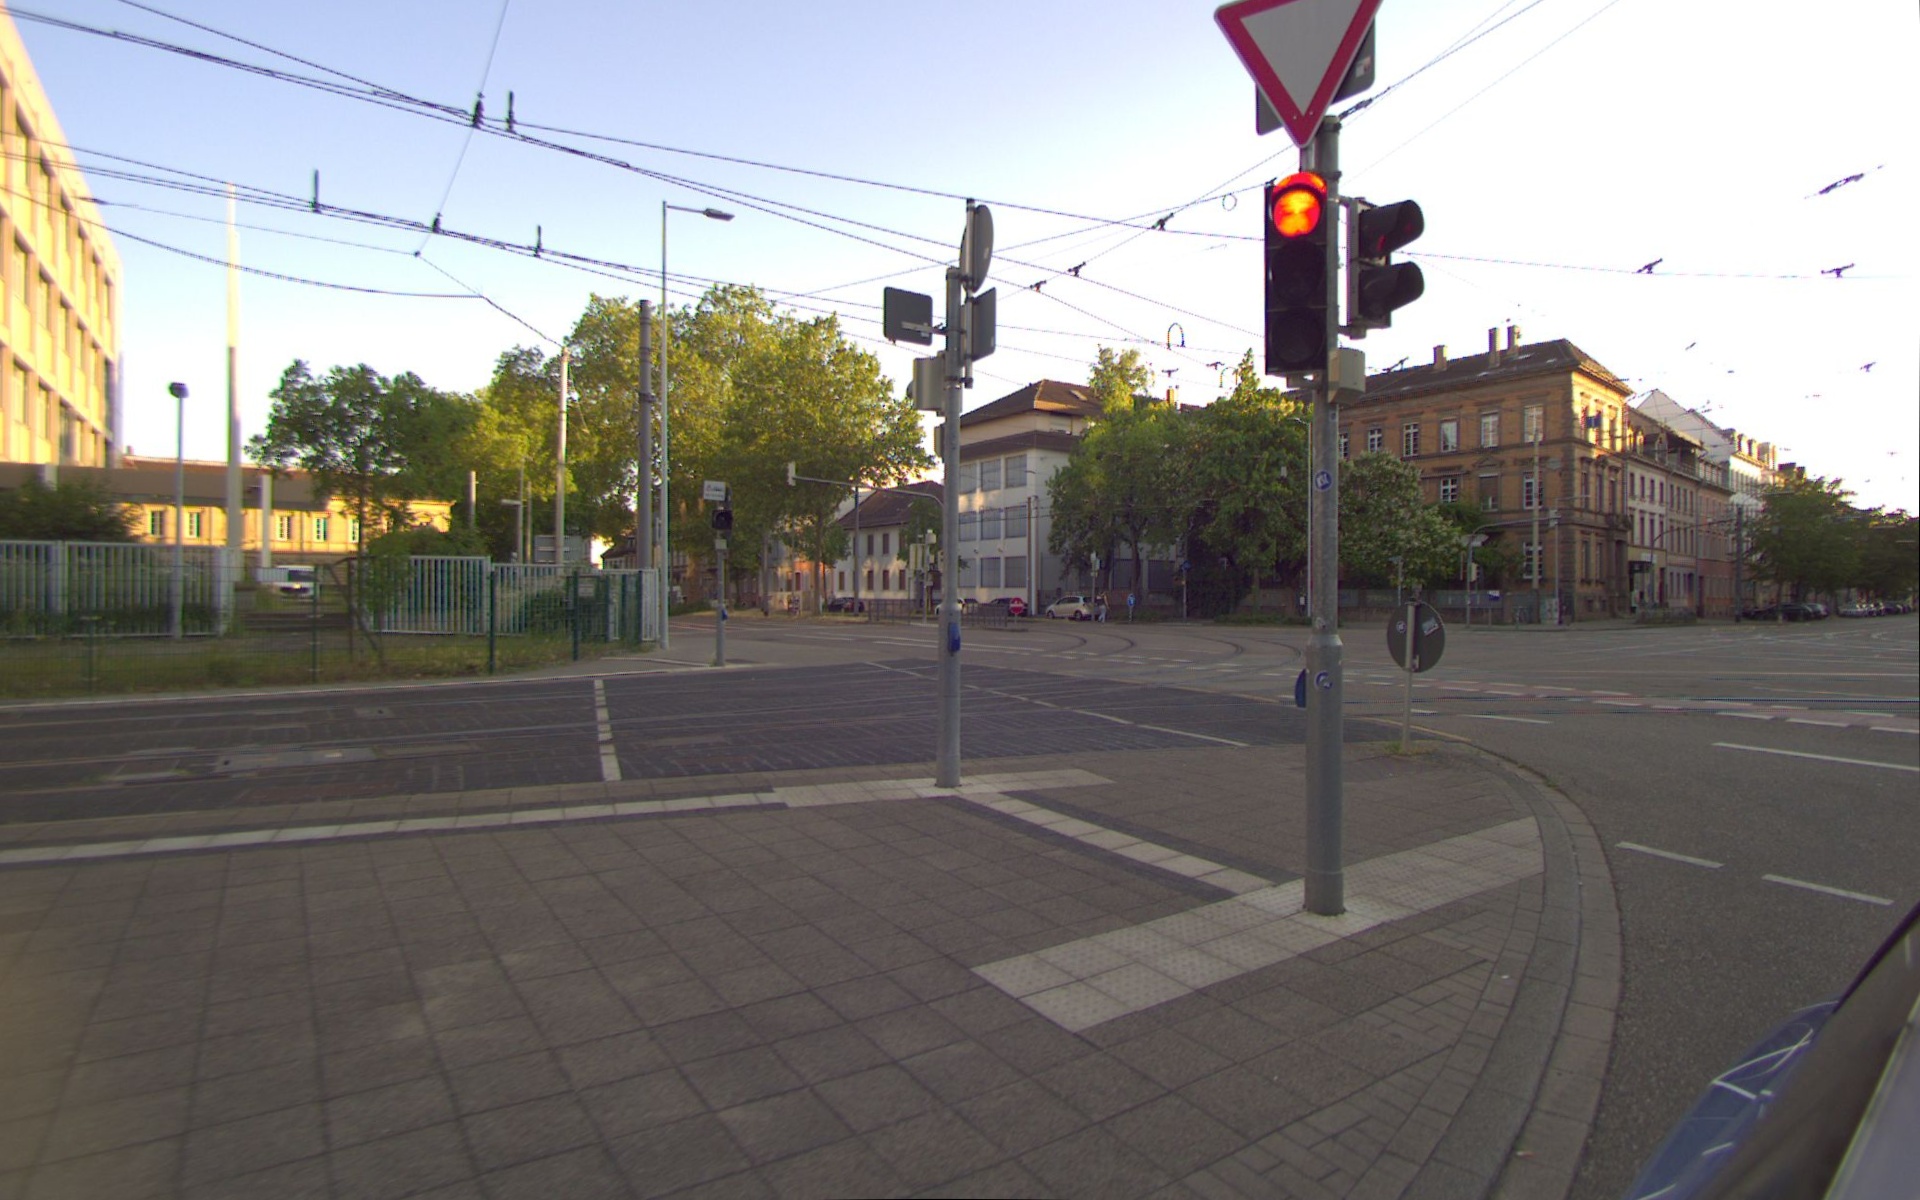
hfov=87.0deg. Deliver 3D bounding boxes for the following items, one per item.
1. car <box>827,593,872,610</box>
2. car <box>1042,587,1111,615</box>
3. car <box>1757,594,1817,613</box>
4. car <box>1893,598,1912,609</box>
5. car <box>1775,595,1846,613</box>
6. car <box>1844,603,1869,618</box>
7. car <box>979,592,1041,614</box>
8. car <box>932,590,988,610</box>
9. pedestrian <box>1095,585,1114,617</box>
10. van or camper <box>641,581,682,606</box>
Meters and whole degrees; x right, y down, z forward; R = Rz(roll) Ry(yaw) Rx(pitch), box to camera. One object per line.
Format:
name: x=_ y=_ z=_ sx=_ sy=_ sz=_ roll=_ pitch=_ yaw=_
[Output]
car: x=-9.581 y=0.150 z=87.441 sx=1.963 sy=1.442 sz=4.230 roll=0 pitch=0 yaw=-37
car: x=7.261 y=0.052 z=63.607 sx=1.963 sy=1.653 sz=4.230 roll=0 pitch=0 yaw=-37
car: x=68.237 y=0.281 z=83.517 sx=3.762 sy=1.505 sz=1.877 roll=0 pitch=0 yaw=44
car: x=124.977 y=0.470 z=134.122 sx=1.781 sy=1.453 sz=4.229 roll=0 pitch=0 yaw=44
car: x=74.095 y=0.355 z=88.213 sx=4.690 sy=1.505 sz=1.877 roll=0 pitch=0 yaw=44
car: x=92.010 y=1.015 z=103.837 sx=1.781 sy=1.475 sz=4.229 roll=0 pitch=0 yaw=44
car: x=3.369 y=0.173 z=69.438 sx=1.963 sy=1.442 sz=4.358 roll=0 pitch=0 yaw=-37
car: x=-0.047 y=0.010 z=73.898 sx=1.963 sy=1.442 sz=4.230 roll=0 pitch=0 yaw=-37
pedestrian: x=7.245 y=0.050 z=50.757 sx=0.801 sy=1.546 sz=0.581 roll=0 pitch=0 yaw=-31
van or camper: x=-37.213 y=-0.818 z=126.175 sx=2.453 sy=3.008 sz=7.174 roll=0 pitch=0 yaw=-38
